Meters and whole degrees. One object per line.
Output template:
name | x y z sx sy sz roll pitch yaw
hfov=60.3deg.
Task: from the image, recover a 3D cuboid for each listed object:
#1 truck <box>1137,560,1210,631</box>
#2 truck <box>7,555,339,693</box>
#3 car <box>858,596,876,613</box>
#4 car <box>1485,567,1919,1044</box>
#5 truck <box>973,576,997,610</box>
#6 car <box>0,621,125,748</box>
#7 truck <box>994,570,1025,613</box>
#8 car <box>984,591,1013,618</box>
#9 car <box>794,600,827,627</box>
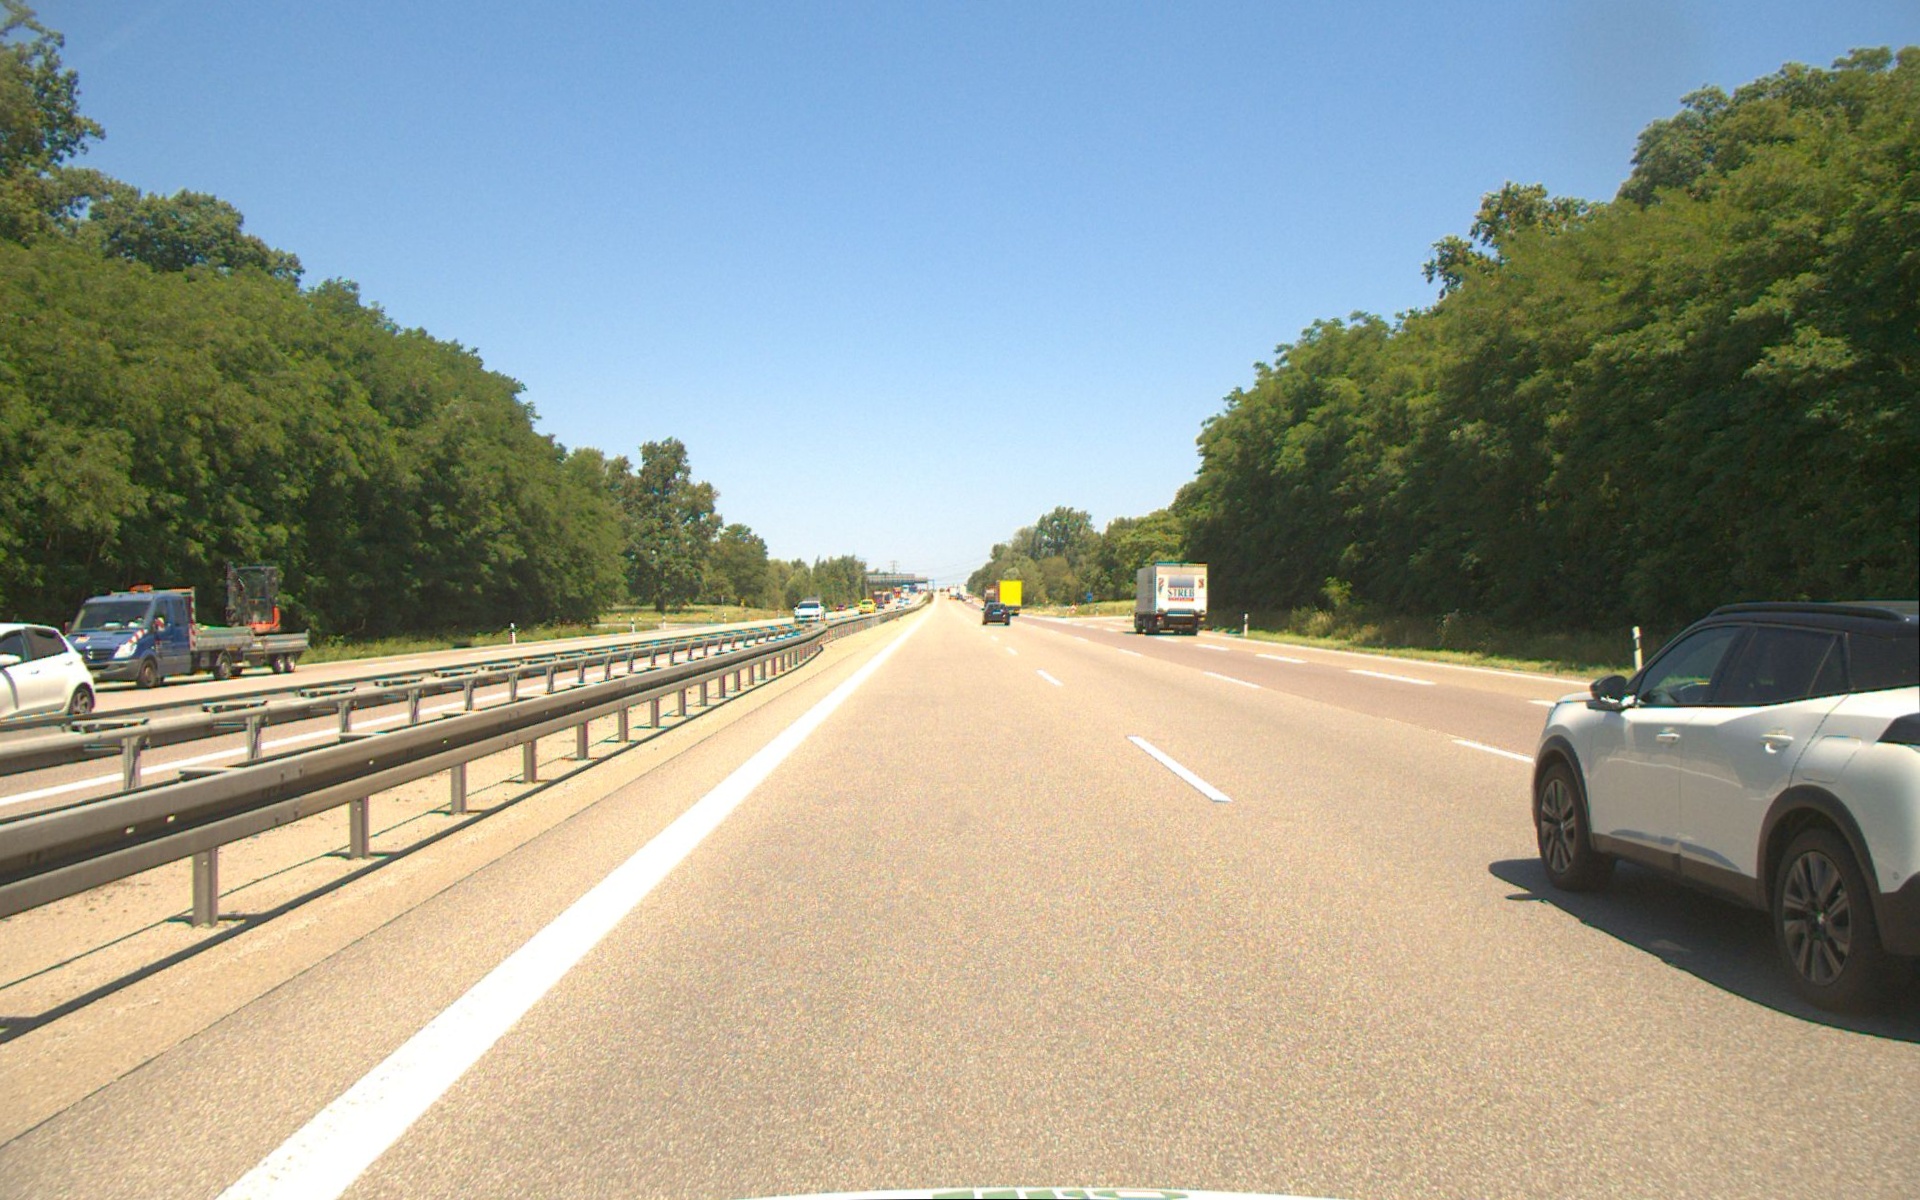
truck | 10.869 -0.206 85.164 2.965 3.377 10.775 1 0 4
truck | -20.118 0.554 43.633 2.697 3.043 12.853 -2 0 -1
car | -11.562 0.563 206.554 1.953 1.998 5.210 1 0 -1
car | 4.151 0.708 7.757 1.790 1.636 4.807 0 0 -1
truck | 3.662 -0.973 245.745 3.298 4.966 15.085 1 0 0
car | -13.073 1.095 22.156 1.654 1.571 4.203 1 0 -1
truck | 5.988 -0.982 201.427 3.308 4.966 15.085 1 0 0
car | 2.559 0.319 110.870 1.790 1.736 3.999 1 0 -1
car | -10.671 0.942 118.122 1.953 1.736 5.264 1 1 -1
